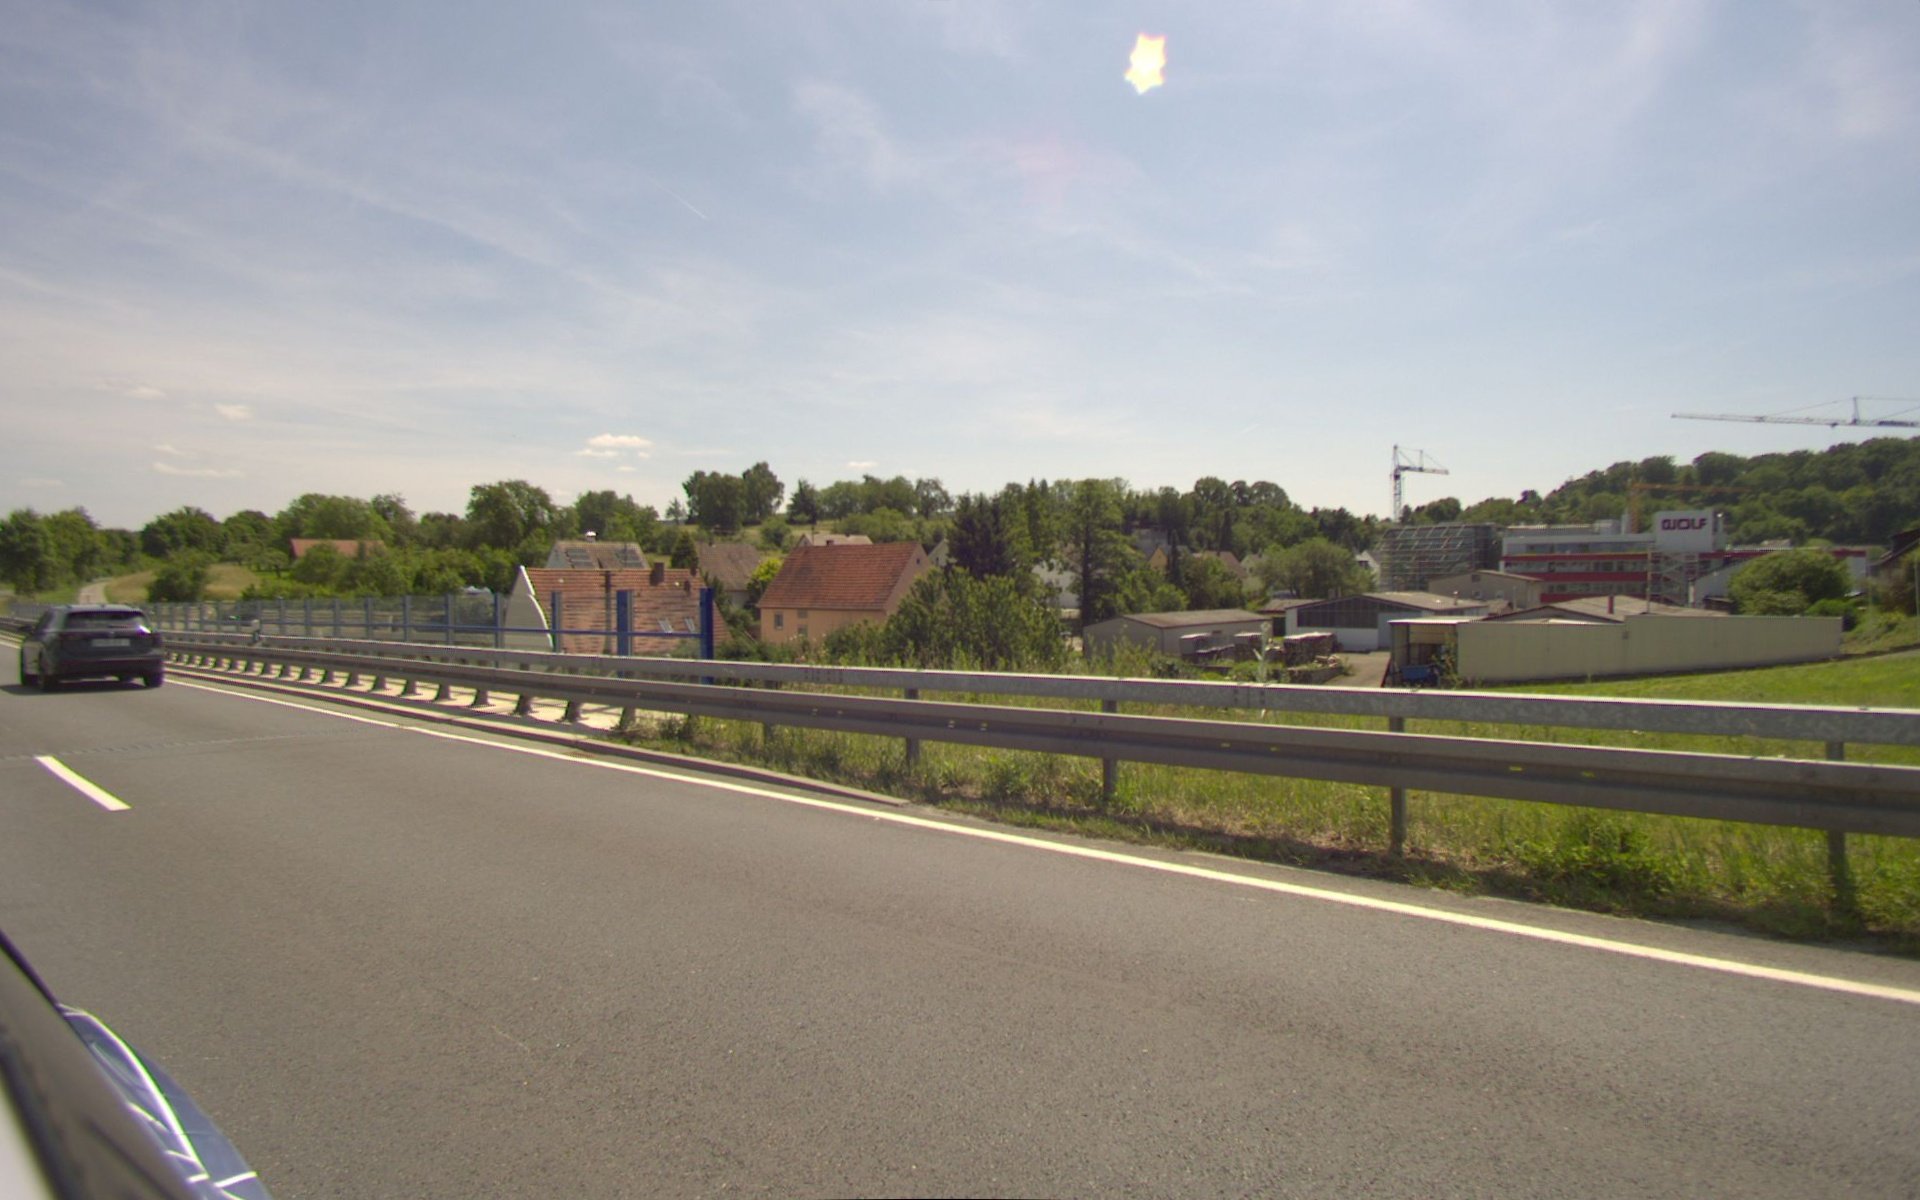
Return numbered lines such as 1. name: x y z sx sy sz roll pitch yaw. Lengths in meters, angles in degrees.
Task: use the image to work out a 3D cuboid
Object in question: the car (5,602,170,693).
1. car: -17.426 0.874 20.150 4.369 1.623 1.846 -1 0 40
